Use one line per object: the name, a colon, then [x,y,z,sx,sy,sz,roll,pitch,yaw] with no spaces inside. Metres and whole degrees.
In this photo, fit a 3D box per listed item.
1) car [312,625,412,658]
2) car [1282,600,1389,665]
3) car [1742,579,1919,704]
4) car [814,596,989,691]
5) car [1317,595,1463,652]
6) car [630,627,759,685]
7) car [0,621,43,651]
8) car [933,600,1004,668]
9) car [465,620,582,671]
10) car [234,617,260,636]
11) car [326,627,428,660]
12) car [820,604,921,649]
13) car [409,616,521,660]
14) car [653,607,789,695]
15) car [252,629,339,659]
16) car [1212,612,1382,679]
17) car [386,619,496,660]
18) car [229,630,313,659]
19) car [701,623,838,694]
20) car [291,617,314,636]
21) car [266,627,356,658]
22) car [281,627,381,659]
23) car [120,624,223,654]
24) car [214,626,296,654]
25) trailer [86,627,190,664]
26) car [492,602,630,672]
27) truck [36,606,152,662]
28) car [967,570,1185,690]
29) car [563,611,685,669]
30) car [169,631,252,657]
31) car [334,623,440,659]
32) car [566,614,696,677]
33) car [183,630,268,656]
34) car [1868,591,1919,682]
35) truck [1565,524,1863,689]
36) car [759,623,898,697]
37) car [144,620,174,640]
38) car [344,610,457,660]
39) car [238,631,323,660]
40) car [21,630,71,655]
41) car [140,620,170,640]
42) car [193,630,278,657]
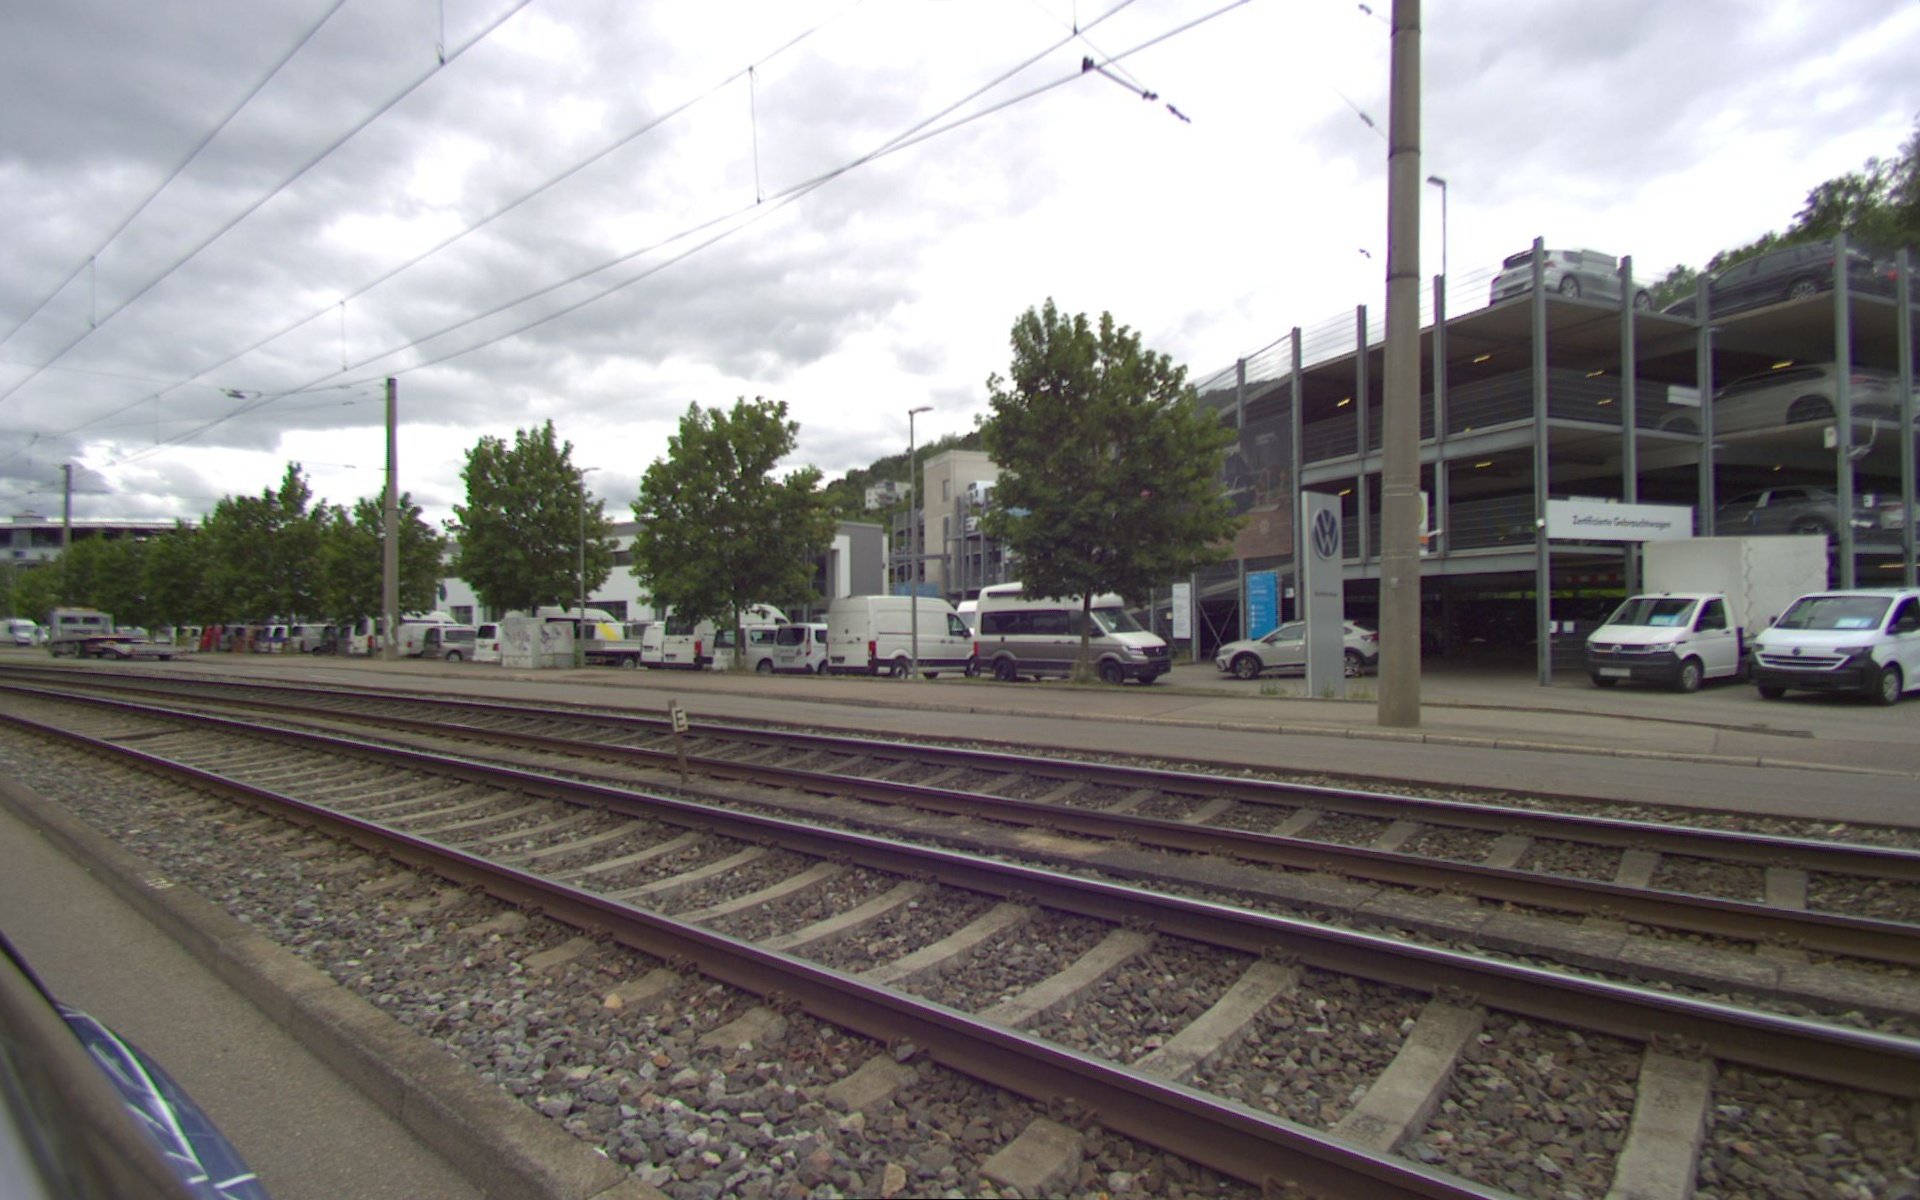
car: [-32.898,2.260,55.741,2.002,1.699,4.321,-2,-2,40]
car: [11.869,1.017,32.307,1.973,1.918,3.997,-1,-1,2]
car: [16.660,0.686,18.237,4.648,2.029,2.006,0,-1,-23]
car: [-1.675,1.250,30.987,2.244,2.622,5.418,-2,-2,39]
car: [15.309,0.862,36.141,4.456,1.918,1.975,-2,-2,37]
car: [-9.683,1.993,37.232,2.000,1.925,4.327,-2,-1,35]
car: [-83.690,3.203,89.167,5.822,2.580,1.986,-2,-1,22]
car: [0.429,1.366,42.051,1.982,2.622,5.934,-1,-1,10]
car: [-19.069,1.951,44.363,2.000,2.026,4.327,-2,-1,35]
car: [-77.410,2.847,109.882,1.966,2.029,4.012,0,-1,-31]
car: [-31.093,2.291,54.050,2.002,1.630,4.321,-2,-2,40]
car: [-4.231,1.256,48.562,1.999,2.029,4.792,-2,-2,41]
car: [-23.348,1.769,47.819,2.002,1.962,4.321,-2,-2,40]
car: [-8.187,1.684,35.003,2.000,2.840,4.327,-2,-1,35]
car: [-39.350,2.559,59.974,1.999,1.630,3.946,-2,-2,41]
car: [8.954,1.214,27.074,4.102,1.630,1.988,-2,-2,19]
car: [-25.187,1.882,49.227,2.002,1.859,4.321,-2,-2,40]
car: [-42.882,2.752,63.057,1.999,1.630,3.946,-2,-2,41]
car: [-6.259,1.871,33.657,2.000,2.121,4.327,-2,-1,35]
car: [-73.495,2.933,113.172,1.966,2.029,4.012,0,-1,-31]
car: [-37.050,2.382,57.813,1.999,1.630,3.946,-2,-2,41]
car: [-35.025,2.379,56.446,2.002,1.630,4.323,-2,-1,39]
car: [-56.639,2.790,72.859,5.618,2.023,2.150,0,-2,-33]
car: [-44.908,2.532,64.500,2.047,1.677,3.946,-2,-2,41]
trailer: [-40.248,2.219,49.494,6.936,1.711,2.360,-2,-3,37]
car: [-16.318,1.457,41.605,2.110,2.719,4.922,-2,-1,35]
truck: [-46.609,1.879,54.367,9.202,2.763,2.731,-2,-3,37]
car: [3.121,0.854,28.453,5.934,3.042,2.085,-2,-2,42]
car: [-13.444,1.556,40.660,2.000,2.189,4.327,-2,-1,35]
car: [-51.726,3.015,69.910,2.153,1.630,4.291,-2,-2,41]
car: [-29.580,2.111,52.346,2.027,1.701,4.327,-2,-1,36]
car: [-12.296,1.654,38.076,2.000,2.189,4.327,-2,-1,35]
car: [-49.488,2.876,68.247,2.119,1.630,4.300,-2,-2,41]
car: [20.863,0.688,19.541,1.965,1.845,4.482,0,-1,-24]
truck: [15.791,0.126,21.192,5.836,3.108,2.126,0,-2,-21]
car: [-4.116,1.840,32.262,2.000,2.121,4.327,-2,-1,35]
car: [-84.613,3.143,107.002,1.966,2.029,4.012,0,-1,-31]
car: [-27.568,1.698,49.961,2.124,2.329,4.450,-2,-2,40]
car: [-41.314,2.729,61.570,1.999,1.630,3.946,-2,-2,41]
car: [-78.048,3.629,86.411,4.793,2.029,1.978,-2,-1,33]
car: [-84.094,3.109,105.777,1.966,2.029,4.012,0,-1,-31]
car: [-47.244,2.831,66.021,2.062,1.630,4.135,-2,-2,41]
